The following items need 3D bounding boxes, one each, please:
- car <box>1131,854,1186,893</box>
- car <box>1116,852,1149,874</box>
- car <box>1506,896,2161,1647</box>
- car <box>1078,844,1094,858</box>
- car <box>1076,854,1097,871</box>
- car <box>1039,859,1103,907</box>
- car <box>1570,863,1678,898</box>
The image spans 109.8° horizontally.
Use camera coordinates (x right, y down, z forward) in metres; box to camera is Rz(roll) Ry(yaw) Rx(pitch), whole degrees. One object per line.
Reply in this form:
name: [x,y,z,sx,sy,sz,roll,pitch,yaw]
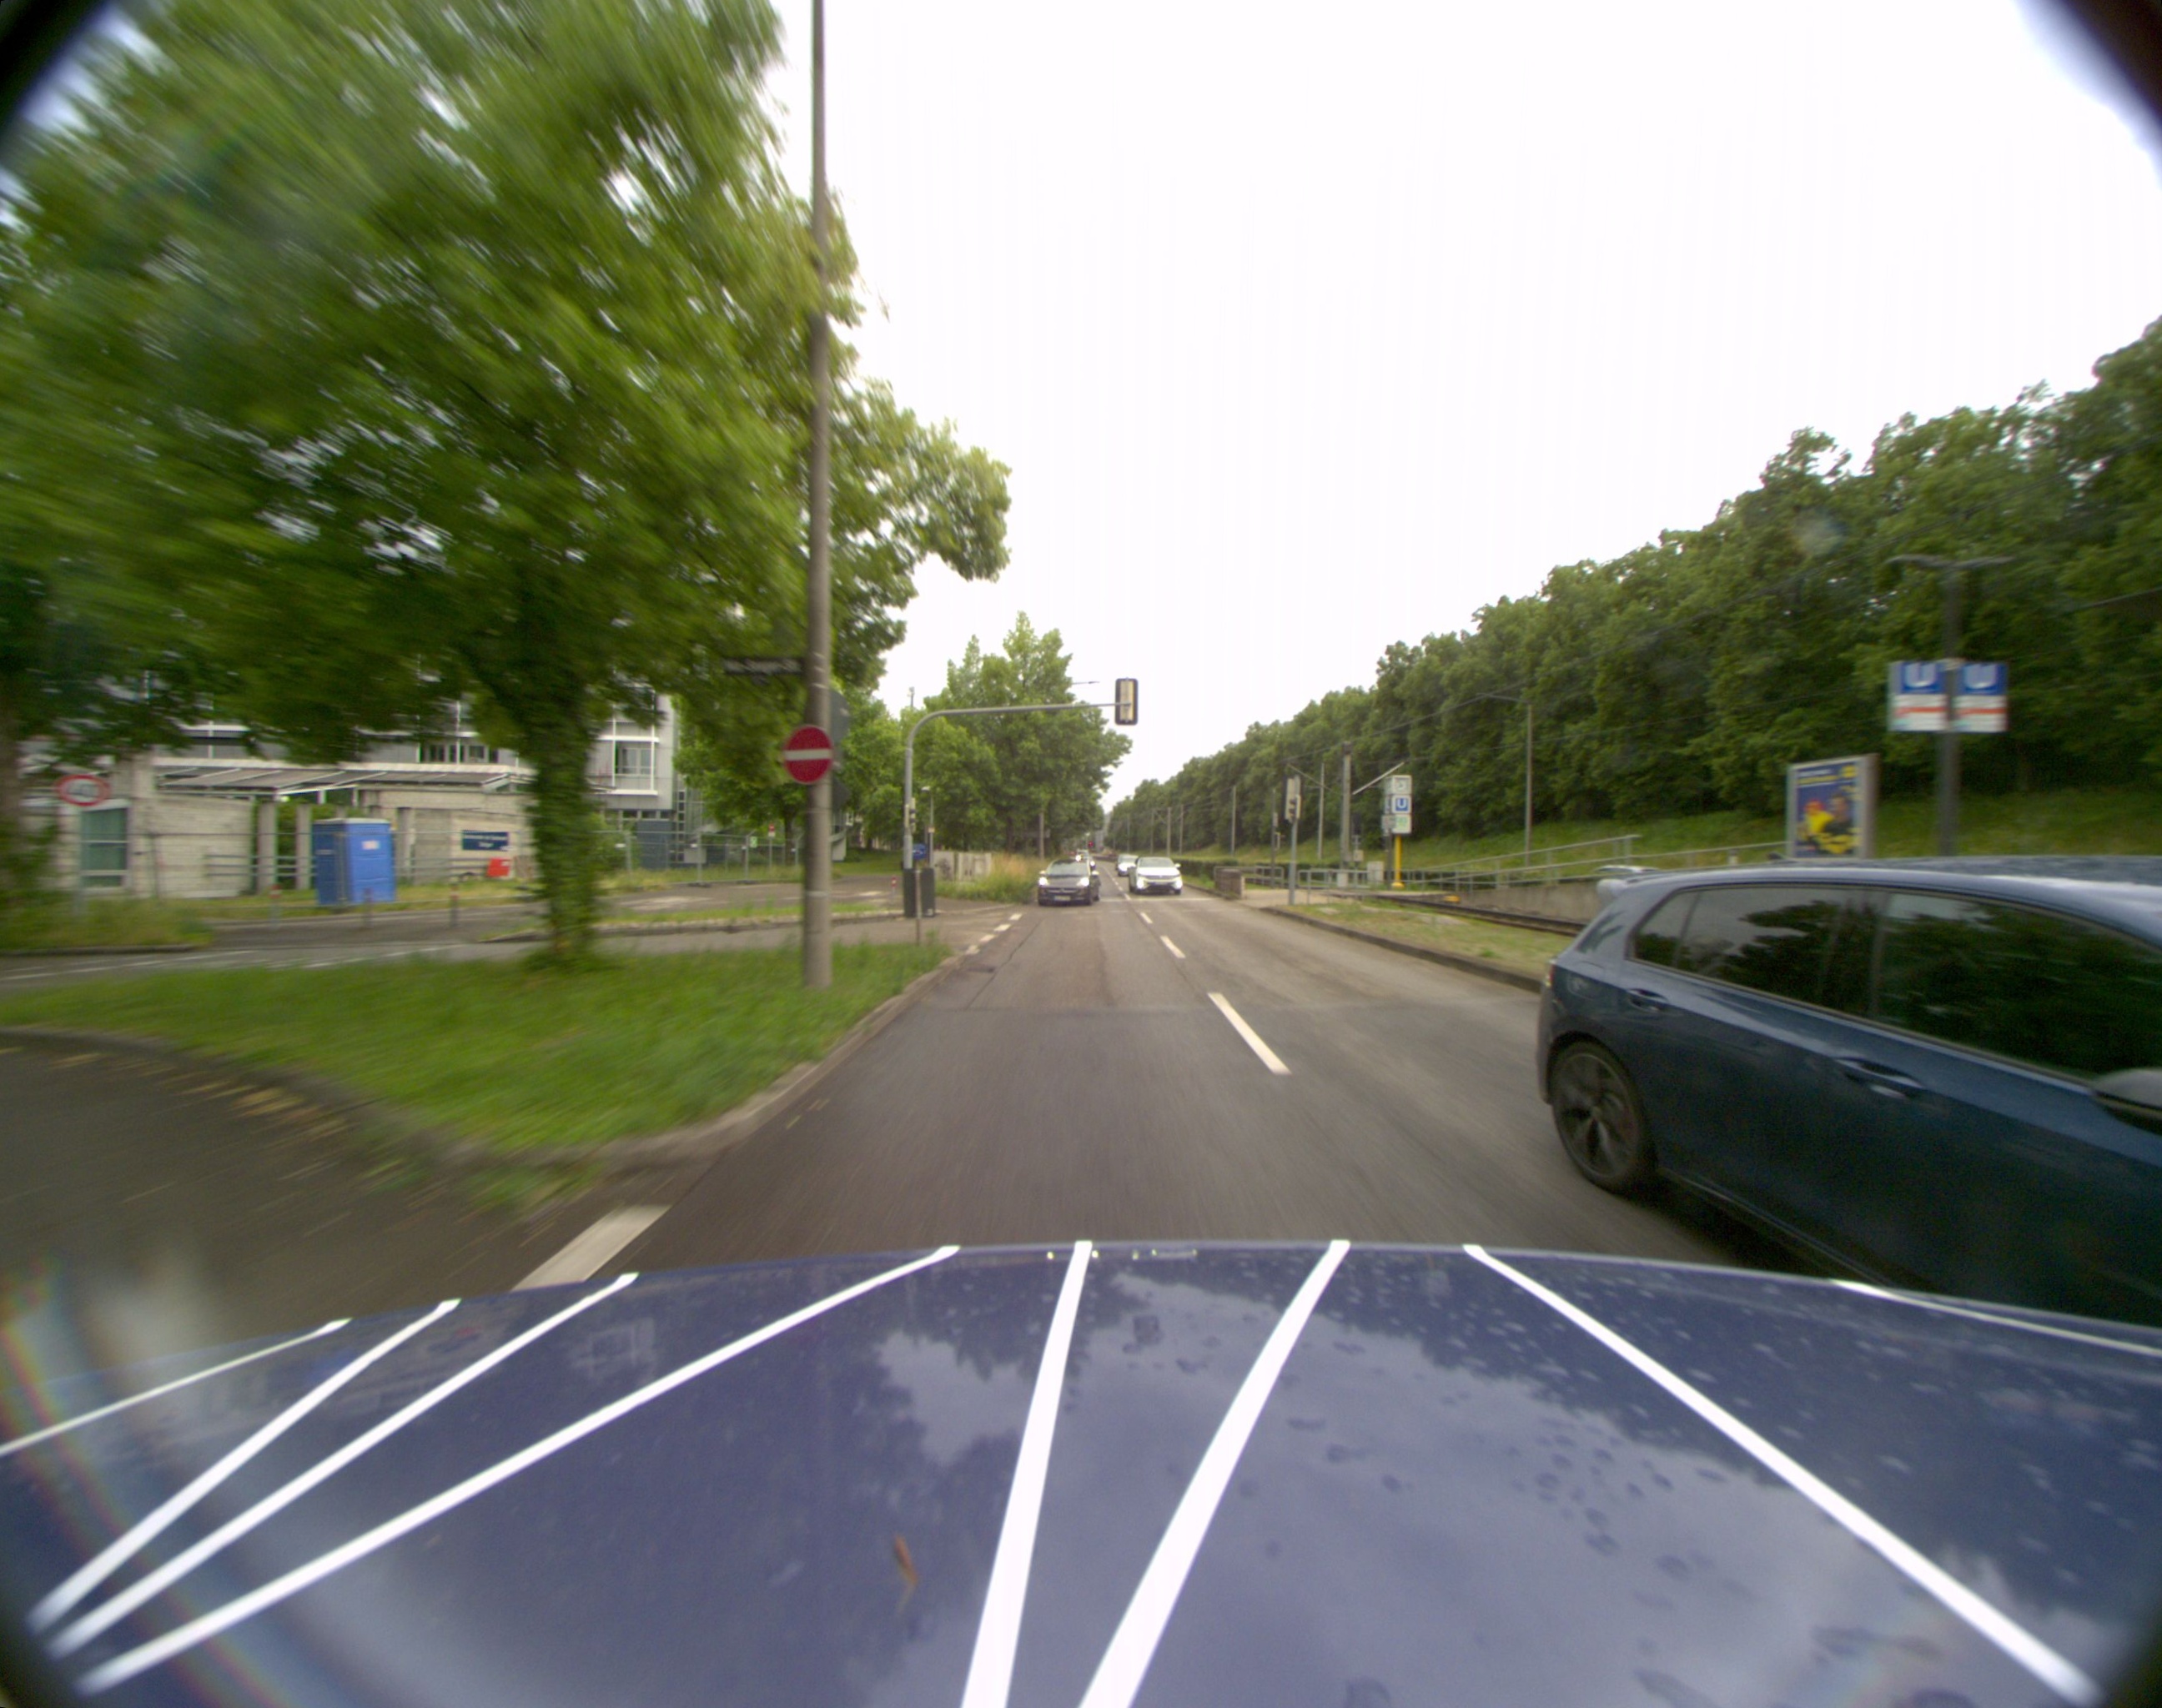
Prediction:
car: [3.114,0.732,31.403,1.960,1.457,4.699,0,0,2]
car: [3.630,0.607,54.471,1.960,1.472,4.699,-2,0,0]
car: [3.091,0.910,1.747,1.812,1.370,4.347,-1,0,0]
car: [0.679,-0.489,110.057,1.960,1.914,4.844,-2,0,-2]
car: [0.506,0.817,75.506,1.960,1.469,4.698,-2,0,-1]
car: [-0.252,0.885,25.291,1.710,1.425,4.430,0,0,5]
car: [24.265,1.146,34.143,1.801,1.395,3.998,0,0,-5]
